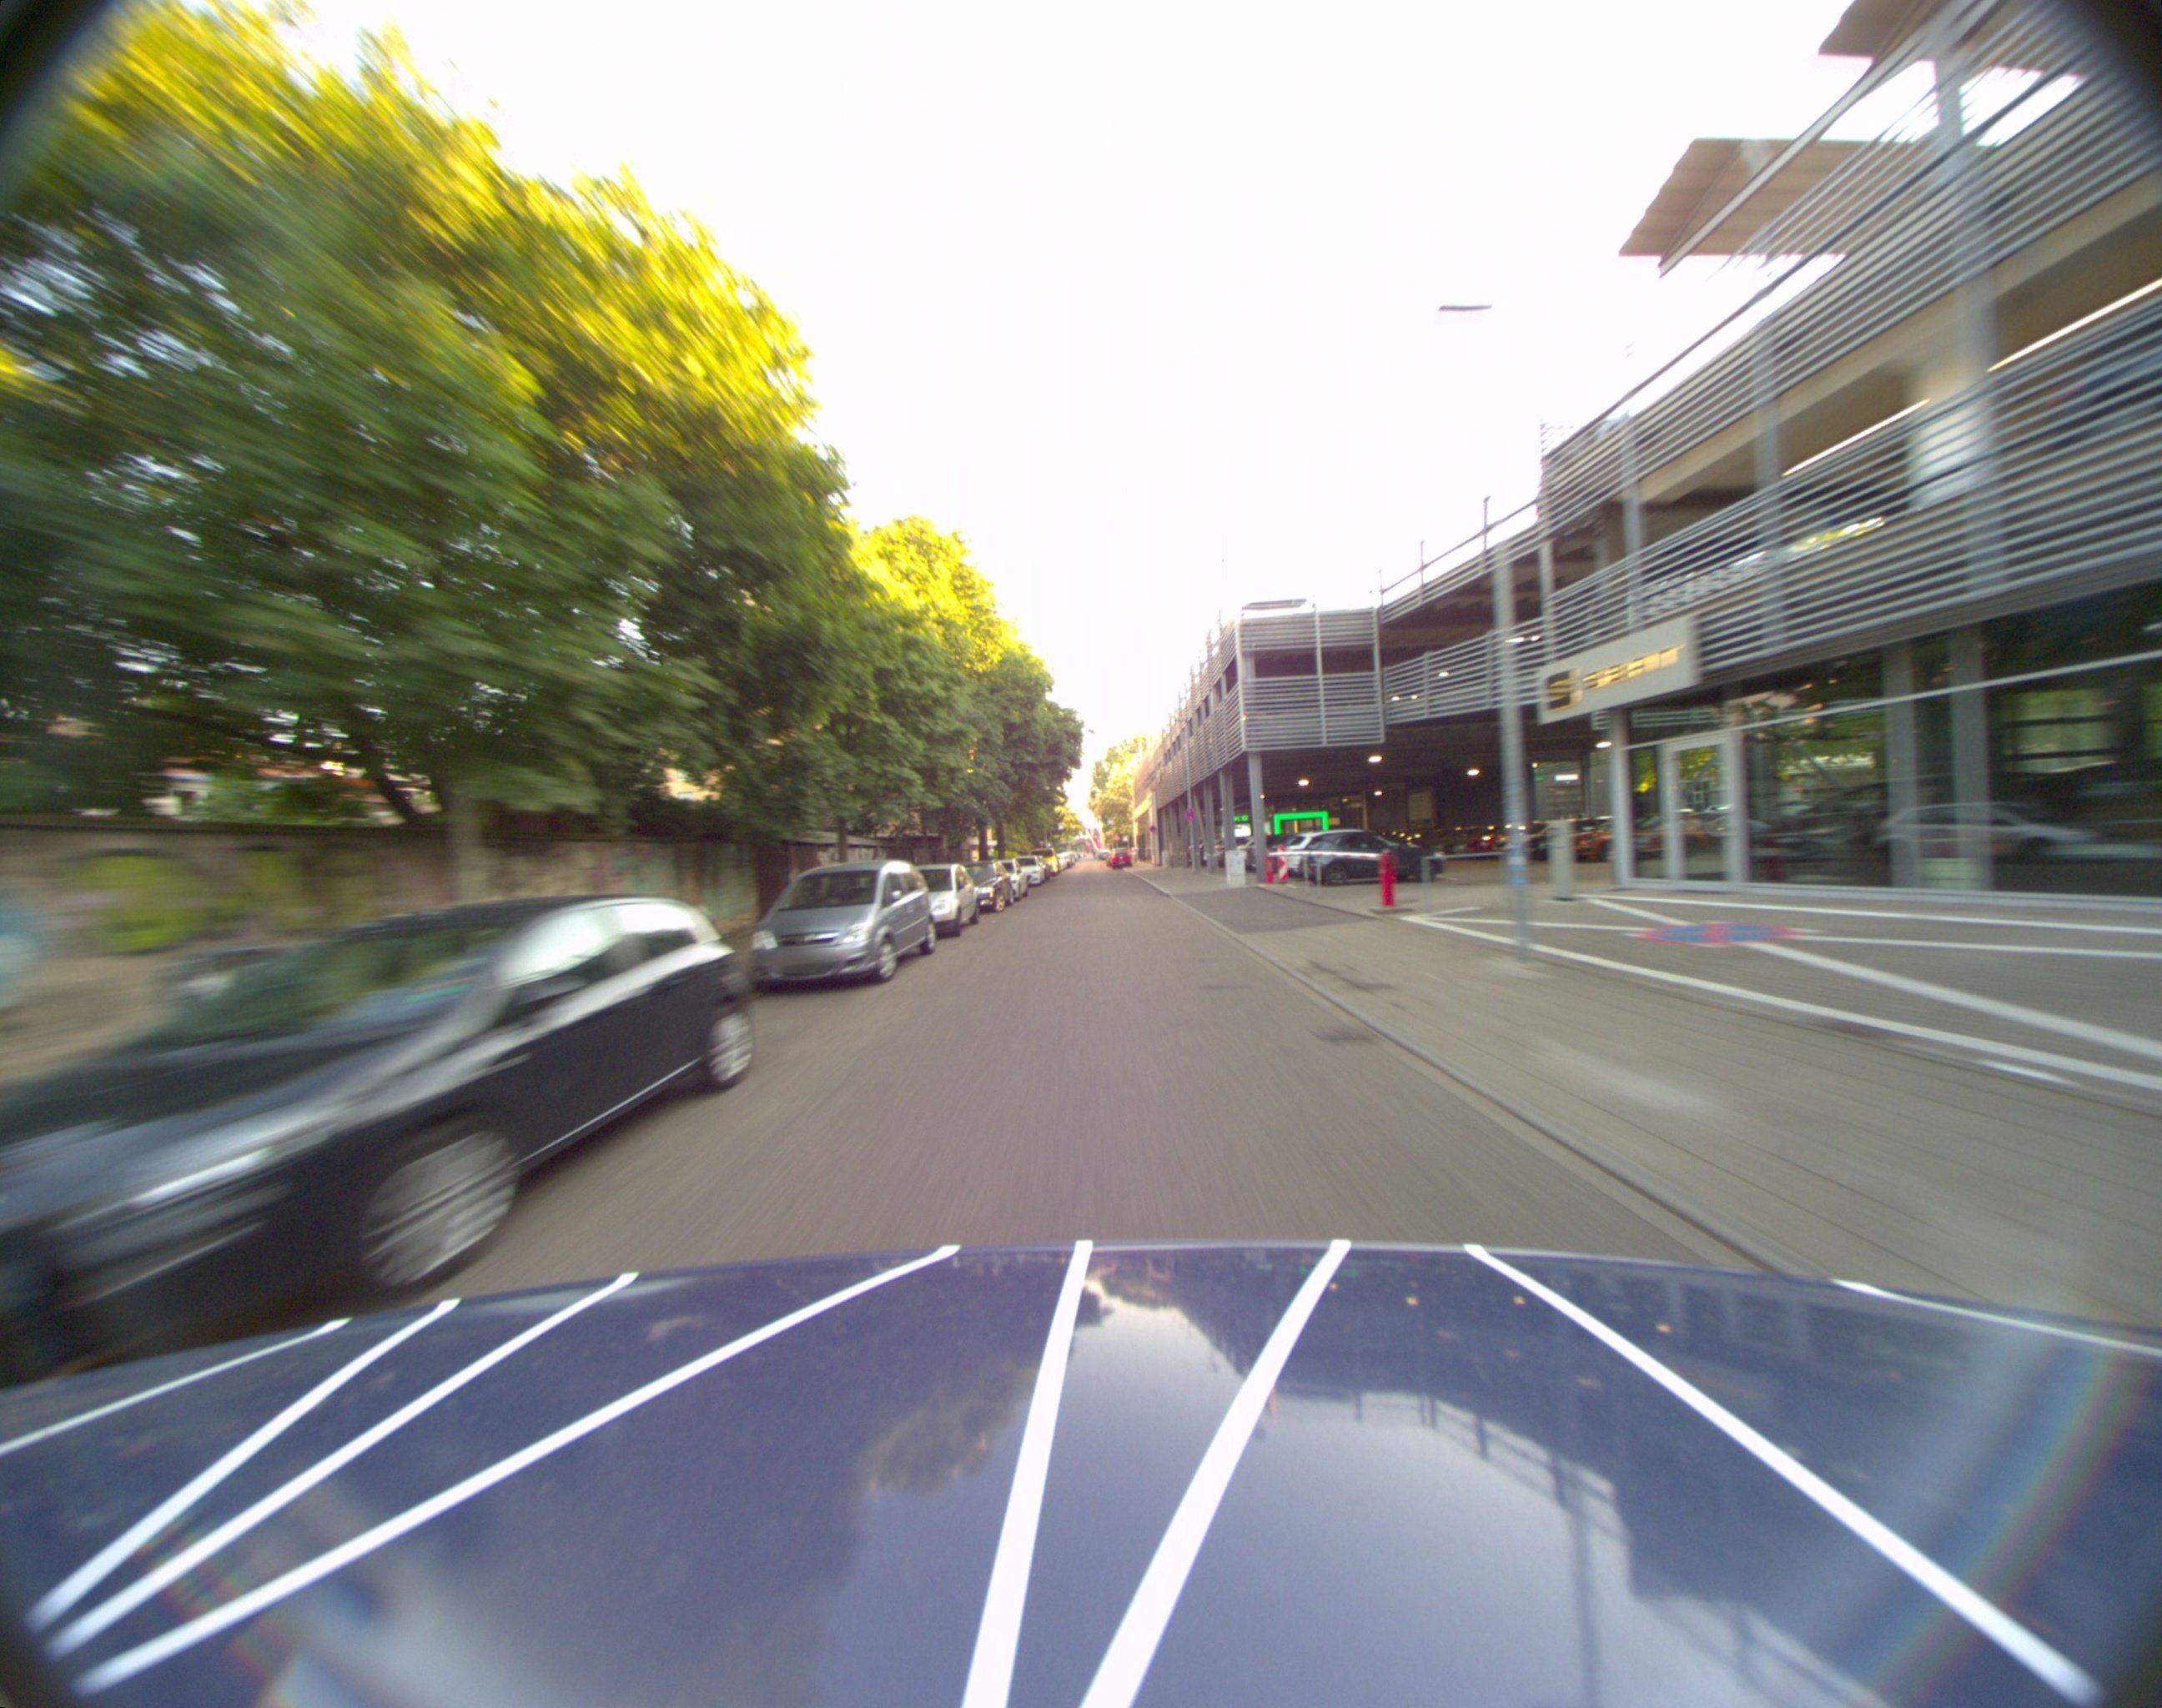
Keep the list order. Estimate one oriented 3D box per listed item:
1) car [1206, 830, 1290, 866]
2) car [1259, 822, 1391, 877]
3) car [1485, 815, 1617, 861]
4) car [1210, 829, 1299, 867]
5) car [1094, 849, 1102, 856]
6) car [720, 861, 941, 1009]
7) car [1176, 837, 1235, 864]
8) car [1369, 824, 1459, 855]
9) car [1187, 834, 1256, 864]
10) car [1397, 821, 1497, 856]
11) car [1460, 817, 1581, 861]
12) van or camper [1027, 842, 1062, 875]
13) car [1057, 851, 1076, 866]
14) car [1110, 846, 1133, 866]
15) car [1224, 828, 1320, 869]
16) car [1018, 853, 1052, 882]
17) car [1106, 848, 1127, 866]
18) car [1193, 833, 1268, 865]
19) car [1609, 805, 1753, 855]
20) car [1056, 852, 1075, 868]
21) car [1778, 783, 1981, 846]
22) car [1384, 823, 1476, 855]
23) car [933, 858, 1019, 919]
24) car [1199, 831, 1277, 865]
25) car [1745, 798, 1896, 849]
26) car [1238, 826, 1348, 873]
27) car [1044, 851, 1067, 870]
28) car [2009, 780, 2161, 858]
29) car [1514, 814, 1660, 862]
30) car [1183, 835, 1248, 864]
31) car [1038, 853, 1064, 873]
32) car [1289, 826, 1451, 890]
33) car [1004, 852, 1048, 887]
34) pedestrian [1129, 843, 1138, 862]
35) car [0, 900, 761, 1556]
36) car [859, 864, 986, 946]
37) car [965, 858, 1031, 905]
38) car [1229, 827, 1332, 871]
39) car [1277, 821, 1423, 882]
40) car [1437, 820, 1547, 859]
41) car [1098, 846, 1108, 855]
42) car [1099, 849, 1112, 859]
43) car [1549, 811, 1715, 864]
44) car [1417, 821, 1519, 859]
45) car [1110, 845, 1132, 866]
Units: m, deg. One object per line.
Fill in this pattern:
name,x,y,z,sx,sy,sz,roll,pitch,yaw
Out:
car,9.017,-0.317,41.325,4.093,1.674,1.860,-3,0,2
car,8.707,-0.142,27.370,4.097,1.674,1.860,-3,0,2
car,18.736,-0.619,30.433,4.077,1.570,1.860,-3,0,2
car,8.879,-0.279,39.095,4.112,1.674,1.860,-3,0,2
car,4.876,-0.436,212.472,1.786,1.772,4.011,-9,0,-2
car,-3.351,0.989,11.007,1.763,1.594,3.873,-3,1,1
car,9.108,-0.242,55.834,4.052,1.674,1.860,-3,0,2
car,19.251,-0.819,44.093,4.347,1.479,1.860,-3,0,2
car,8.917,-0.293,48.468,4.045,1.674,1.860,-3,0,2
car,18.888,-0.792,39.329,4.215,1.511,1.860,-3,0,2
car,18.878,-0.620,32.769,4.045,1.587,1.860,-3,0,2
van or camper,-2.485,0.321,53.049,2.069,2.083,5.090,-3,0,0
car,-1.482,0.440,78.706,1.814,1.408,4.625,-3,0,1
car,3.330,0.189,63.140,1.702,1.497,3.790,-3,0,1
car,9.165,-0.264,36.708,4.112,1.674,1.860,-3,0,2
car,-2.523,0.725,42.498,1.567,1.442,3.453,-3,0,1
car,3.567,0.300,75.432,1.942,1.587,4.206,-3,0,3
car,9.002,-0.289,46.056,4.159,1.674,1.860,-3,0,2
car,23.814,-0.938,30.291,4.158,1.674,1.860,-3,0,2
car,-1.487,0.566,73.239,1.613,1.453,4.054,-3,0,1
car,23.819,-1.147,22.795,3.990,1.545,1.860,-3,0,2
car,18.908,-0.806,41.325,4.084,1.446,1.860,-3,0,2
car,-2.957,0.925,22.339,1.763,1.446,4.392,-3,1,1
car,9.017,-0.339,43.857,4.035,1.674,1.860,-3,0,2
car,24.864,-1.001,25.629,3.458,1.417,1.596,-4,1,1
car,8.819,-0.193,31.865,4.074,1.674,1.860,-3,0,2
car,-2.232,0.528,68.270,1.796,1.553,4.193,-3,0,1
car,23.123,-0.804,16.478,3.839,1.464,1.787,-4,-3,-3
car,18.700,-0.558,28.225,4.061,1.486,1.860,-3,0,2
car,9.012,-0.276,51.107,4.045,1.674,1.860,-3,0,2
car,-2.262,0.668,58.506,1.610,1.373,4.001,-3,0,2
car,8.407,0.075,22.320,3.997,1.577,1.859,-3,2,-1
car,-2.641,0.727,37.397,1.726,1.510,4.026,-3,0,1
pedestrian,5.193,-0.173,75.065,0.722,1.867,0.620,-3,0,2
car,-3.308,1.144,3.899,1.600,1.468,3.773,-3,1,1
car,-3.240,0.986,16.263,1.763,1.433,3.874,-3,0,1
car,-2.850,0.909,26.939,1.763,1.433,4.006,-3,0,1
car,8.920,-0.212,34.219,4.112,1.674,1.860,-3,0,2
car,8.737,-0.075,24.940,4.089,1.674,1.860,-3,0,2
car,18.926,-0.645,35.084,3.996,1.549,1.860,-3,0,2
car,5.127,-0.718,176.106,1.964,1.825,3.884,-9,0,-2
car,4.098,-0.060,129.638,1.786,1.442,3.884,-9,0,-2
car,18.714,-0.538,25.958,4.240,1.486,1.830,-3,0,2
car,18.940,-0.659,37.317,3.996,1.549,1.860,-3,0,2
car,3.562,0.099,68.671,1.702,1.746,4.403,-3,0,1
